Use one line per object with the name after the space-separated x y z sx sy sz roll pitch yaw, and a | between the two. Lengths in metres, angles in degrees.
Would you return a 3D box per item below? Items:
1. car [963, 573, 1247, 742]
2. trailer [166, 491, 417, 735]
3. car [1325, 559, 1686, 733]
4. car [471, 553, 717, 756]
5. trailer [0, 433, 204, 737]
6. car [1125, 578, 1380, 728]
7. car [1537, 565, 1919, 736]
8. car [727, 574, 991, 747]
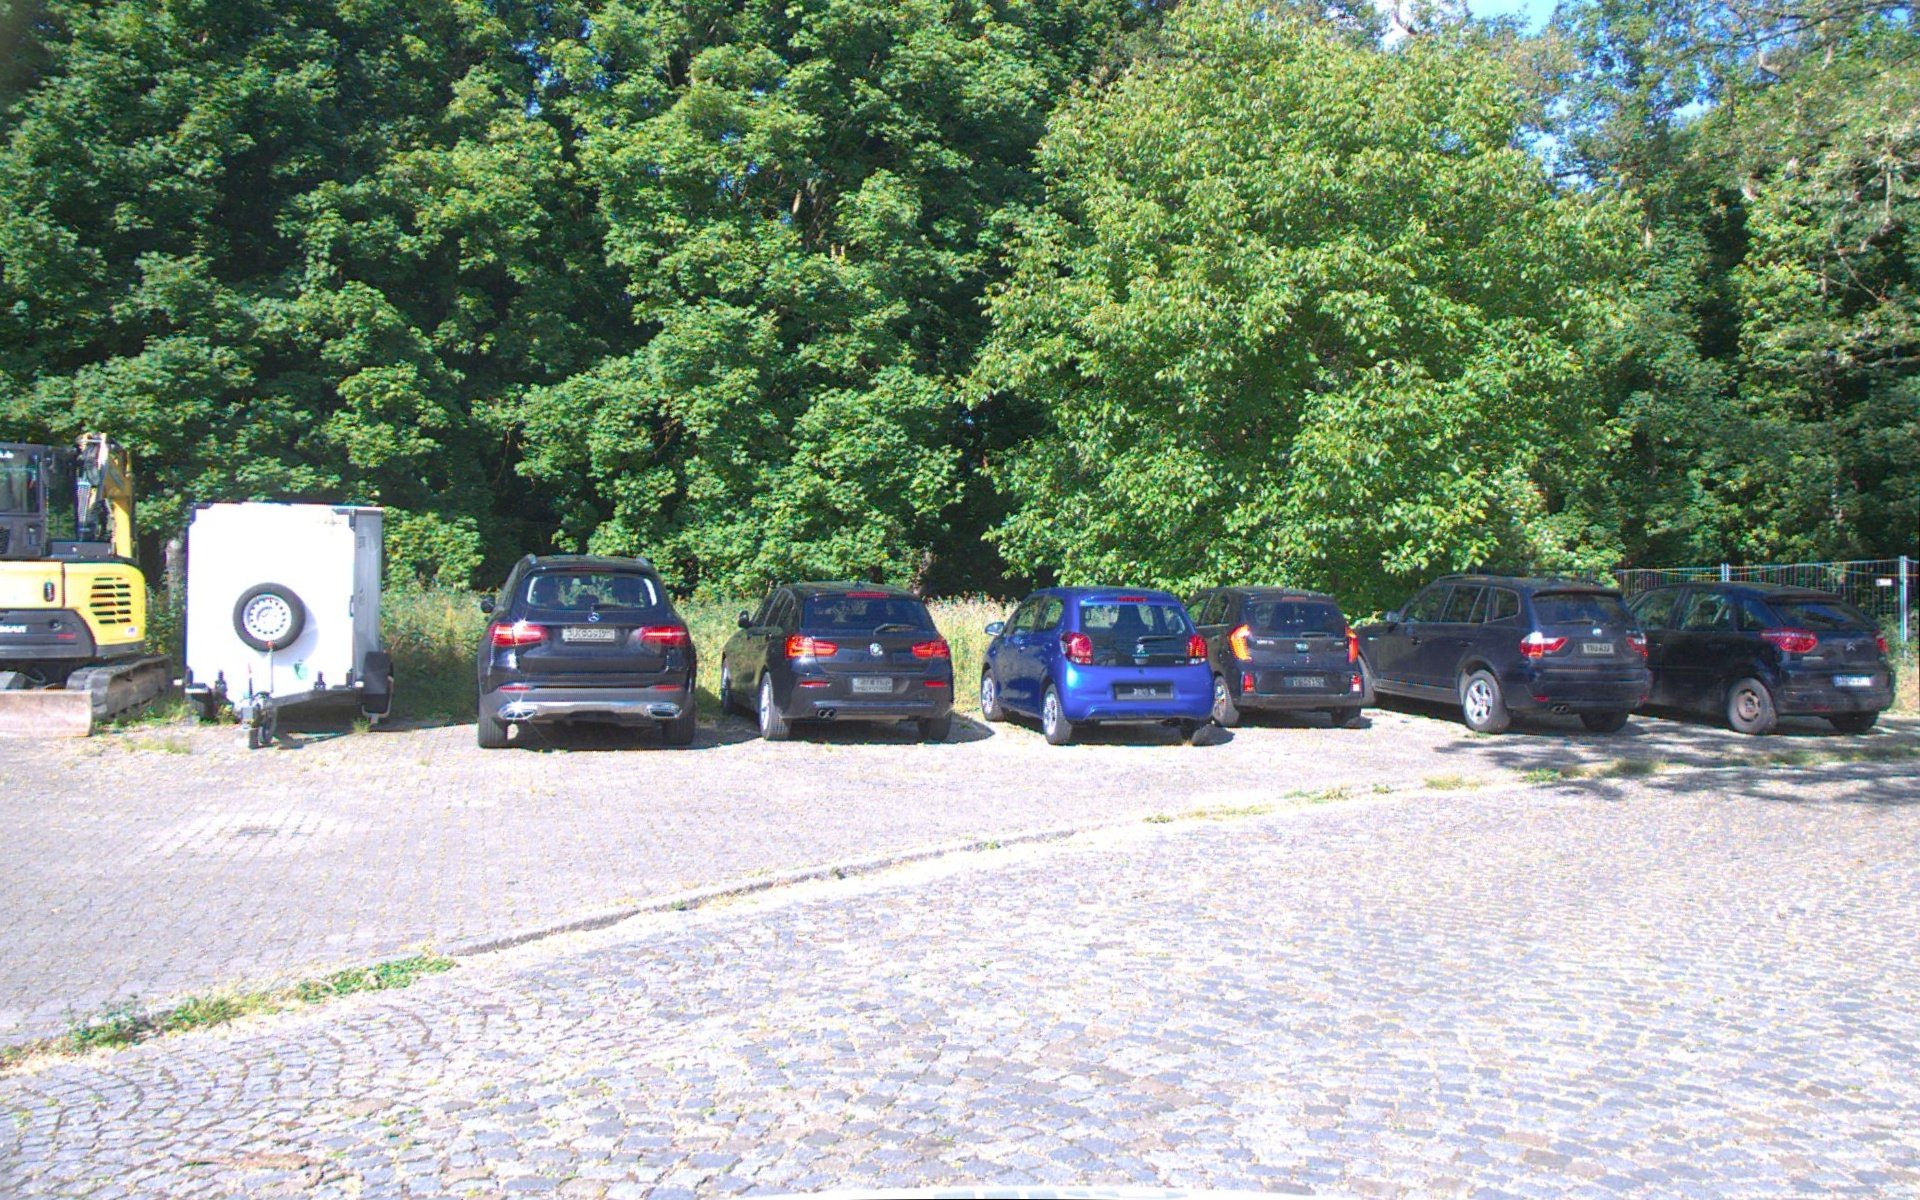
1.355 0.505 17.040 1.750 1.484 3.776 1 2 -14 | car
-6.247 0.092 15.751 1.787 2.086 2.840 1 1 -14 | trailer
6.139 0.431 19.199 1.844 1.659 4.255 1 3 -17 | car
-3.489 0.394 15.450 1.932 1.617 4.115 1 1 -15 | car
-8.542 -0.223 15.399 2.220 2.582 2.841 1 4 -14 | trailer
3.230 0.536 18.983 1.707 1.476 3.717 1 1 -10 | car
9.126 0.491 19.953 1.797 1.616 4.250 0 4 -20 | car
-1.116 0.508 16.262 1.858 1.436 3.775 1 1 -15 | car
